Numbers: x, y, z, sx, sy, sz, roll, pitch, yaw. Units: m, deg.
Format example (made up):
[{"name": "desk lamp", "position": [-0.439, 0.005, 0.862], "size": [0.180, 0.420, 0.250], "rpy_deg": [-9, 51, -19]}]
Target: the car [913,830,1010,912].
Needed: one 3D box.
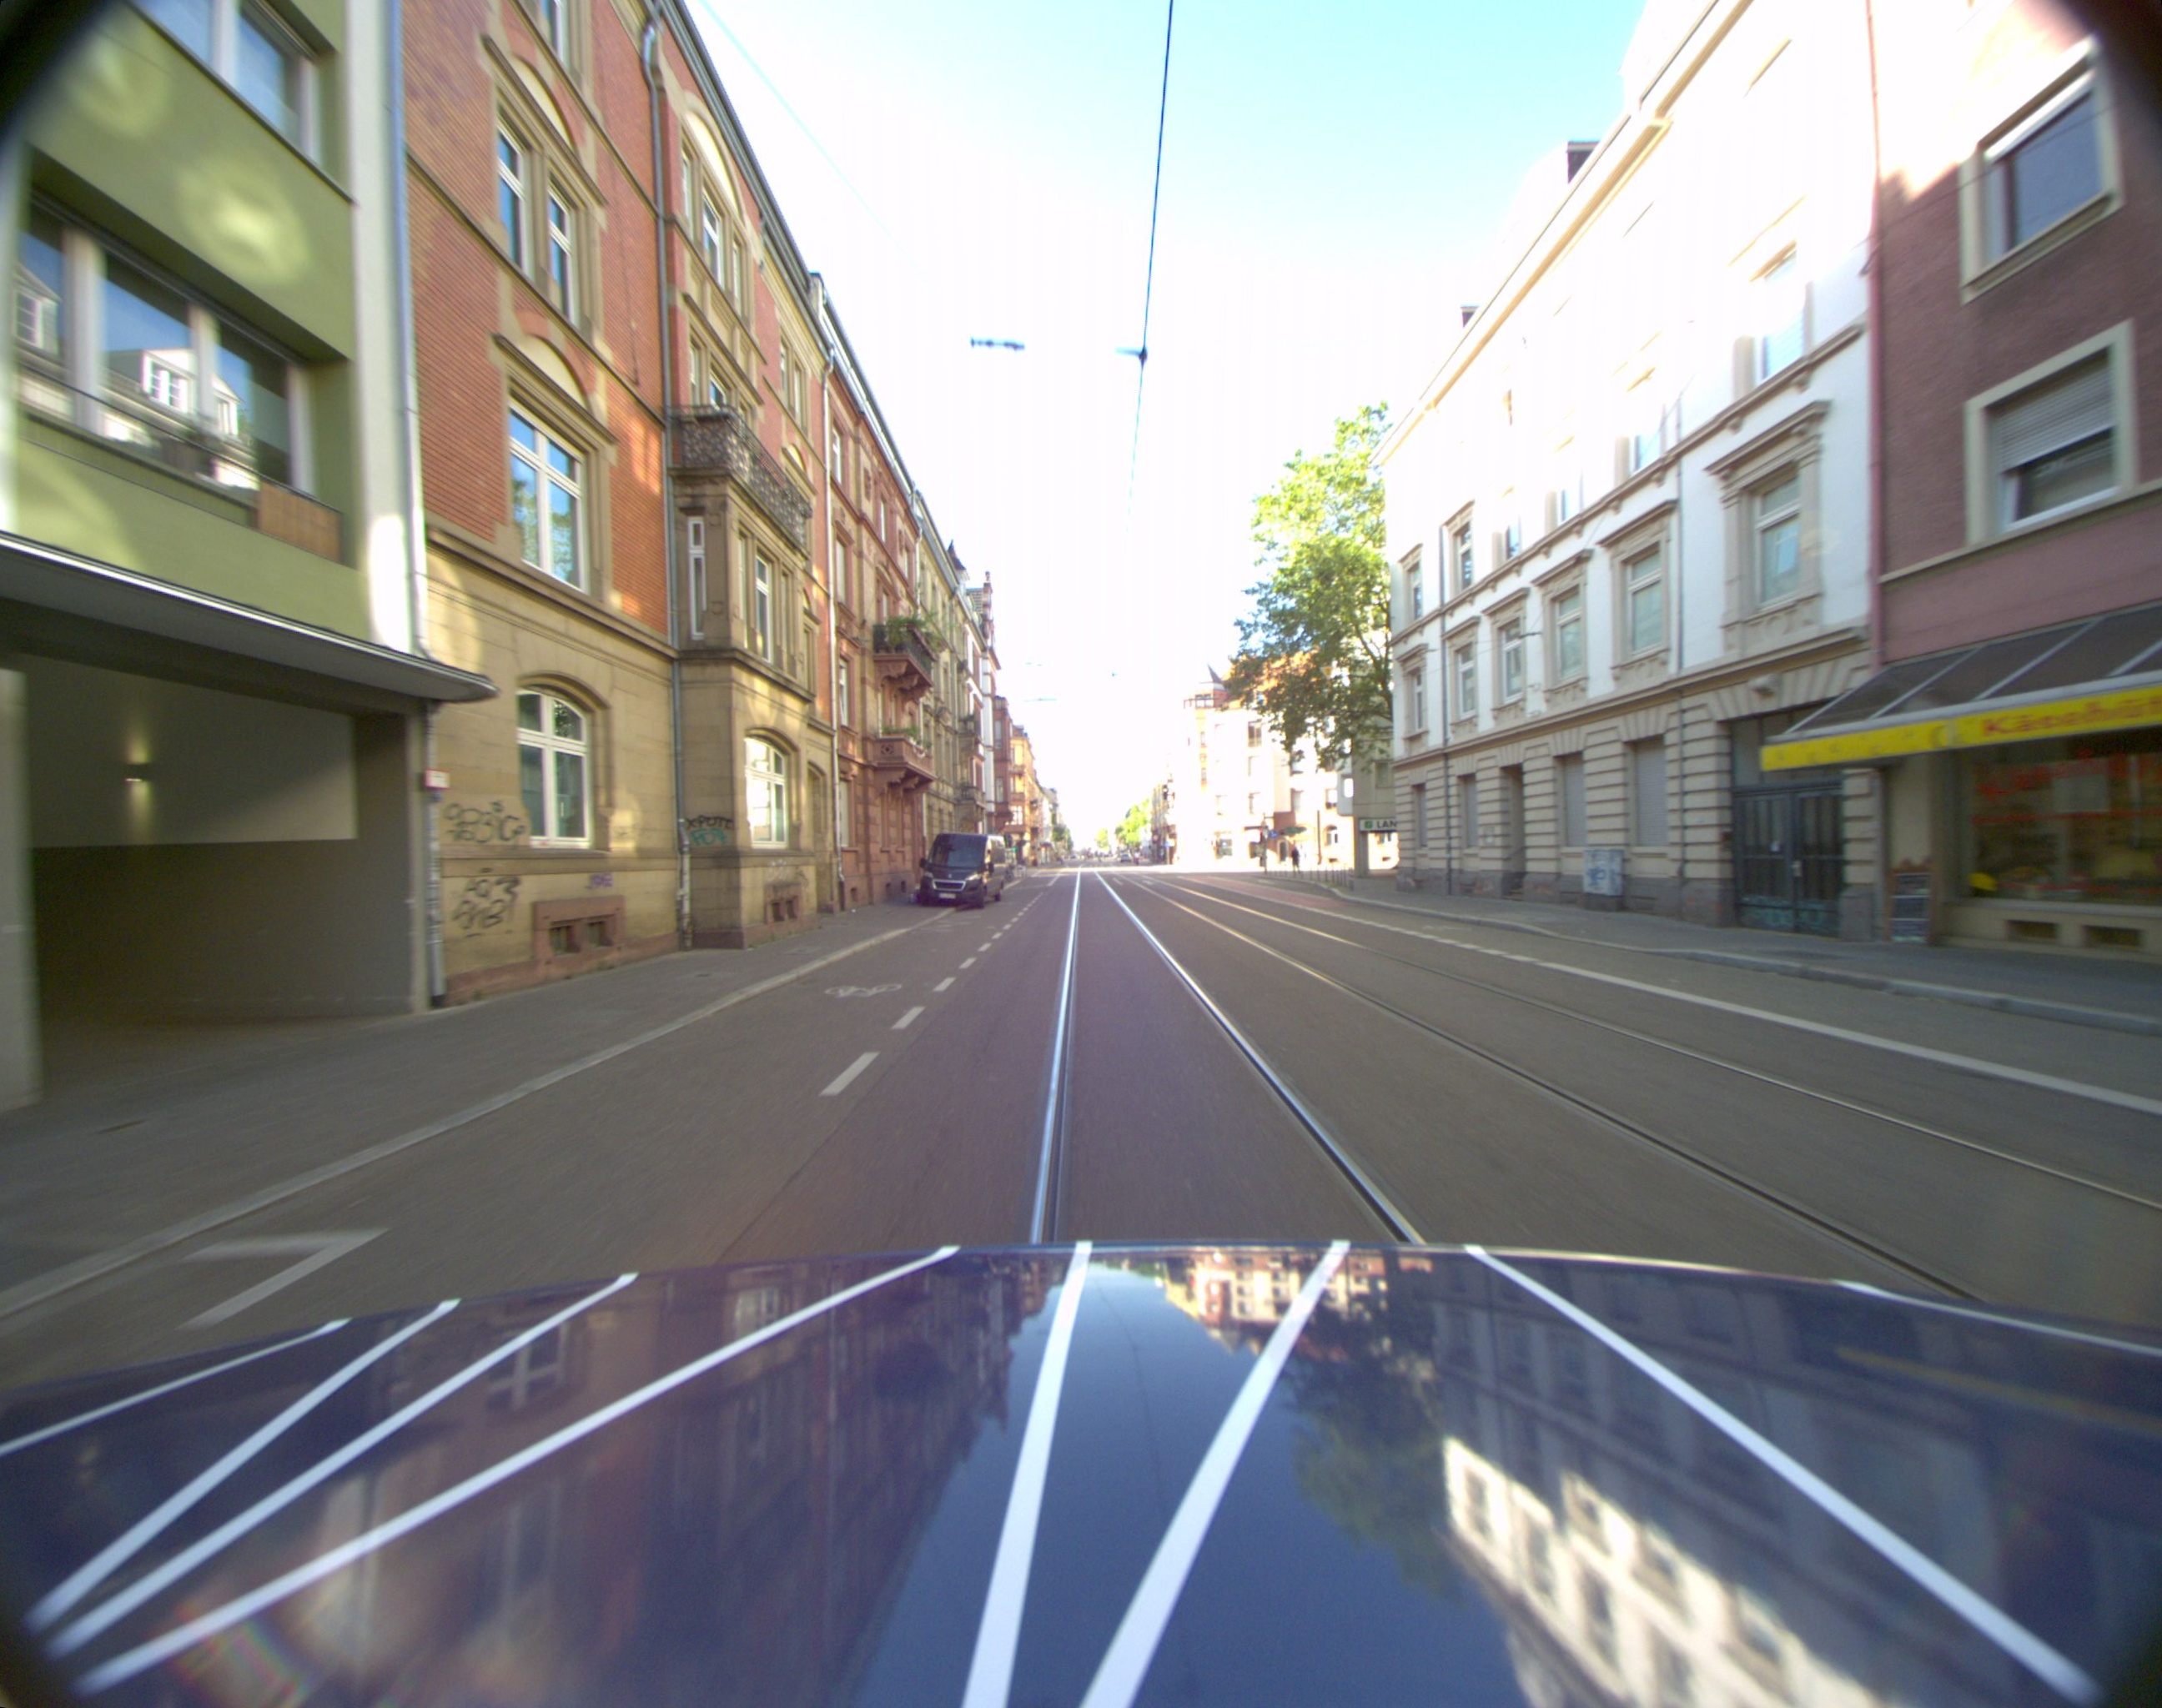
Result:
[{"name": "car", "position": [-3.984, 0.496, 26.472], "size": [2.128, 2.478, 5.856], "rpy_deg": [-2, 1, 2]}]

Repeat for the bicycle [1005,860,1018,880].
[{"name": "bicycle", "position": [-4.329, 0.981, 47.245], "size": [0.647, 1.143, 1.688], "rpy_deg": [-1, 0, 0]}]

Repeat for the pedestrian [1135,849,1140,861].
[{"name": "pedestrian", "position": [9.884, 0.111, 132.388], "size": [0.756, 2.002, 0.718], "rpy_deg": [-2, 1, 0]}]

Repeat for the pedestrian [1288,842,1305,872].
[{"name": "pedestrian", "position": [13.687, 0.177, 48.304], "size": [0.795, 1.837, 0.809], "rpy_deg": [-2, 1, 3]}]

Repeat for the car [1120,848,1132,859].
[{"name": "car", "position": [8.512, -0.140, 144.649], "size": [1.998, 2.002, 4.000], "rpy_deg": [-1, 0, 0]}]

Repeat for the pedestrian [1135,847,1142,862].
[{"name": "pedestrian", "position": [7.633, 0.034, 101.242], "size": [0.756, 2.002, 0.718], "rpy_deg": [-2, 1, 0]}]
